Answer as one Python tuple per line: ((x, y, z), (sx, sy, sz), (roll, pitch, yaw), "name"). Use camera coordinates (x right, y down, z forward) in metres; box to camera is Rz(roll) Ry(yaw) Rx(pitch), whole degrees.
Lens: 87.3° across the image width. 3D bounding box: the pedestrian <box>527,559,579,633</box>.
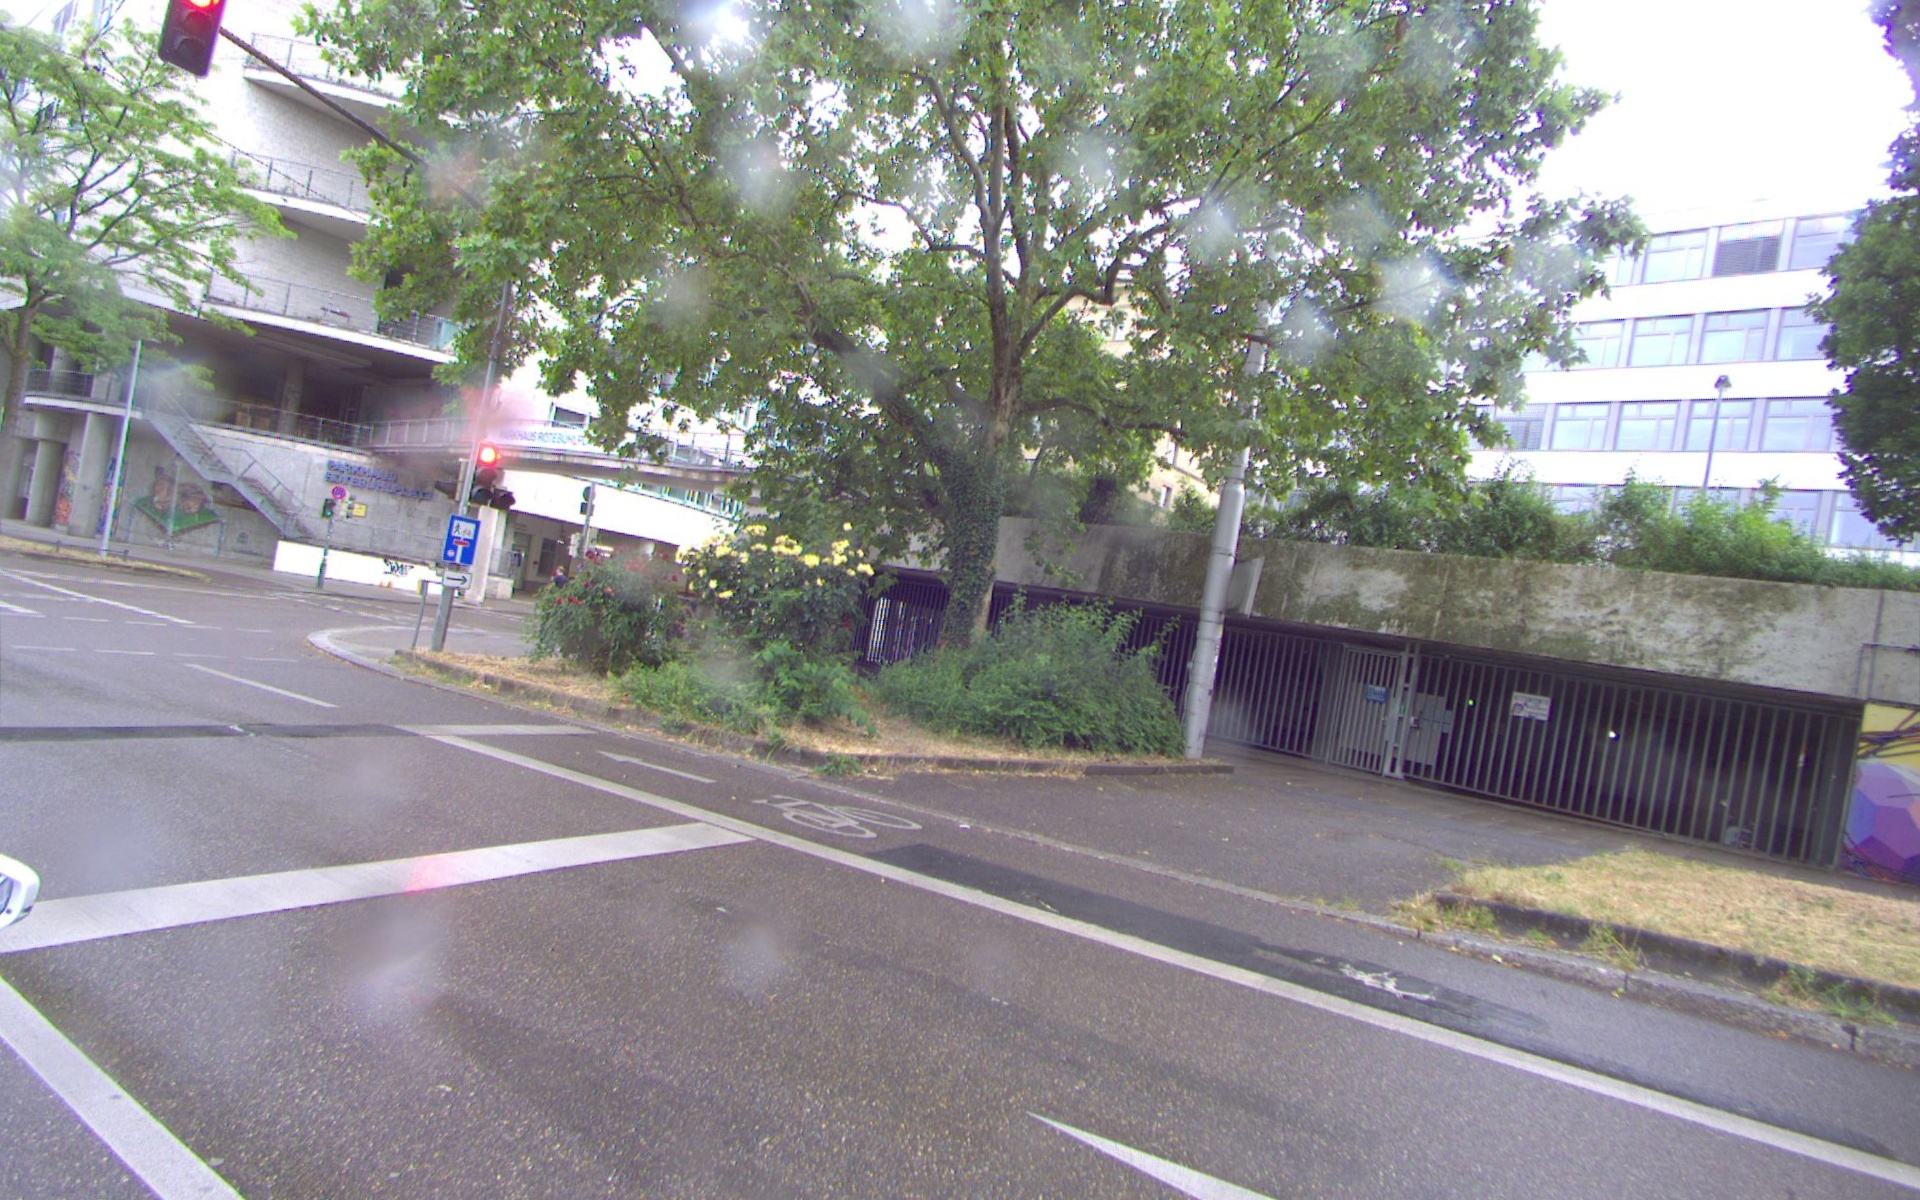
((-11.445, -0.096, 28.318), (0.745, 1.932, 0.847), (8, -1, 31), "pedestrian")
